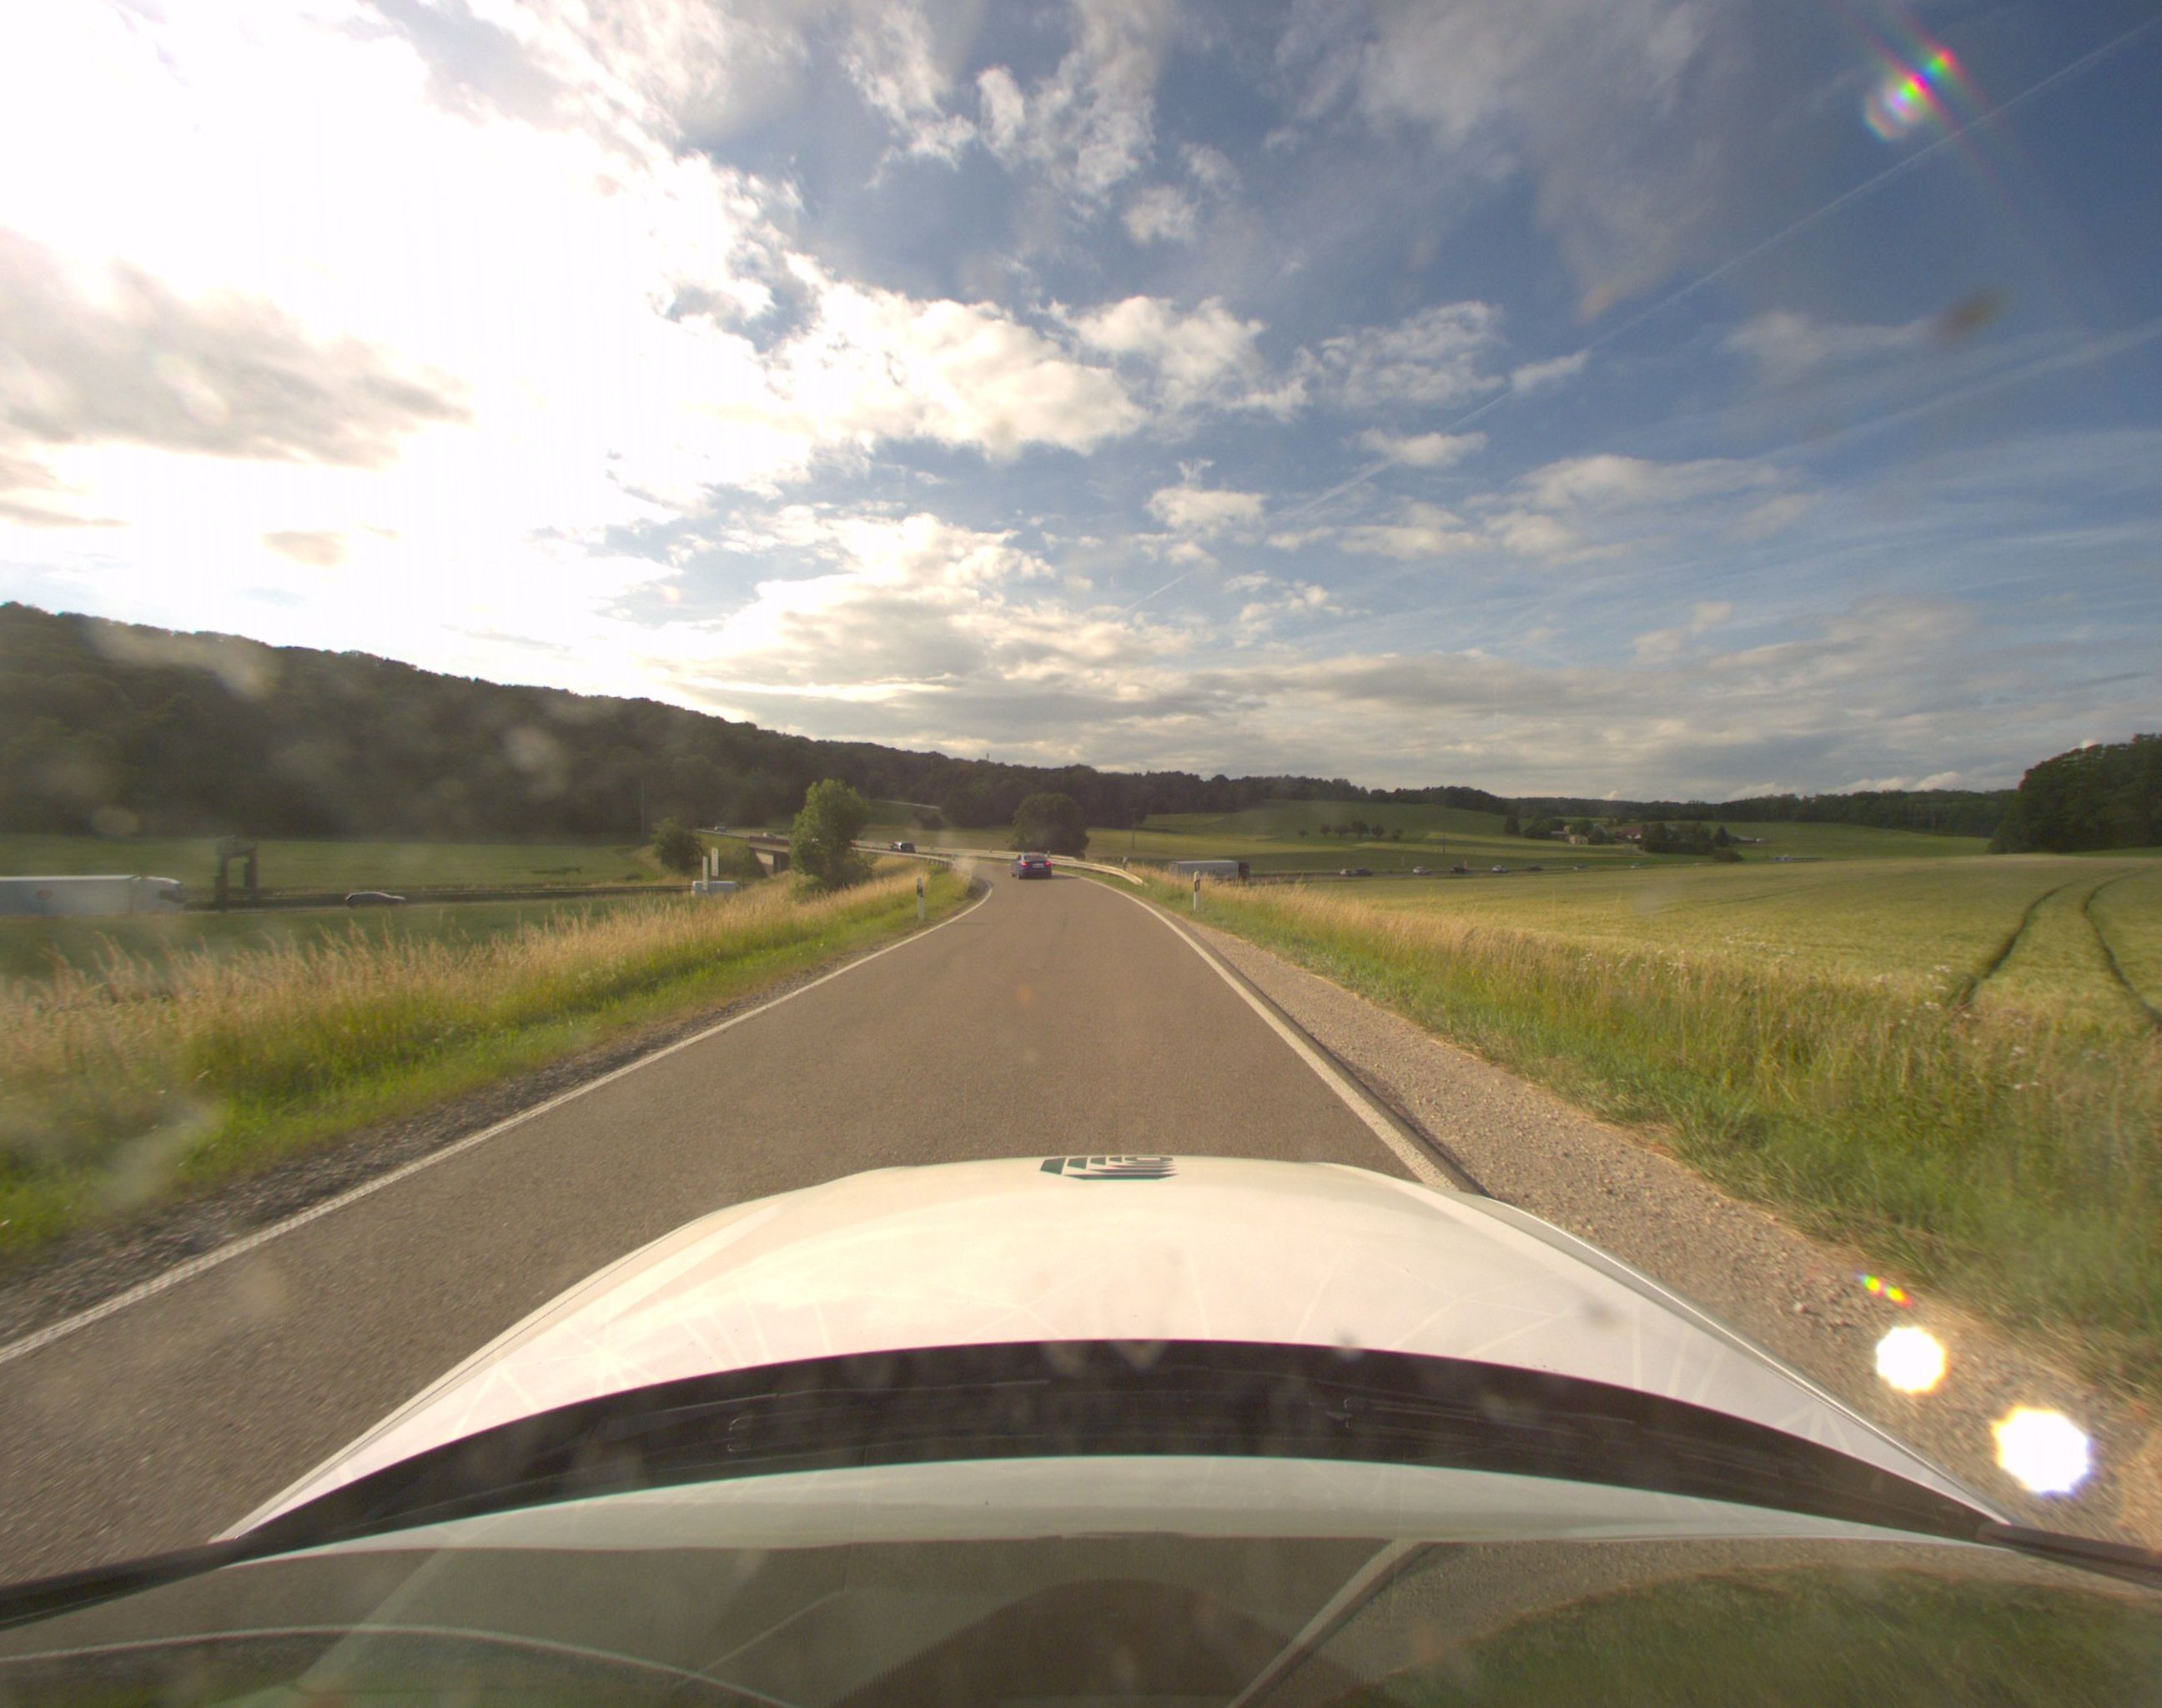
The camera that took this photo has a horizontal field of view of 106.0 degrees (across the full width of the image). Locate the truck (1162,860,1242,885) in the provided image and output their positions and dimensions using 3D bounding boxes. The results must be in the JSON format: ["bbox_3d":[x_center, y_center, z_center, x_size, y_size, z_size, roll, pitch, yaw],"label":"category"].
[{"bbox_3d":[20.857,3.170,139.674,14.475,3.997,4.038,-1,-1,-32],"label":"truck"}]

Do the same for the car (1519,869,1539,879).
[{"bbox_3d":[98.040,4.442,178.235,4.011,2.014,1.981,-1,-1,-30],"label":"car"}]

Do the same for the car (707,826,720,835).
[{"bbox_3d":[-72.486,-4.700,160.662,2.006,1.679,4.139,3,0,-30],"label":"car"}]

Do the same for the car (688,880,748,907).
[{"bbox_3d":[-42.688,4.556,95.727,6.147,2.583,2.350,-1,7,-34],"label":"car"}]

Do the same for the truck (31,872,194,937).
[{"bbox_3d":[-79.319,4.032,67.016,8.099,4.466,2.995,-1,5,-41],"label":"truck"}]

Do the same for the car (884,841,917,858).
[{"bbox_3d":[-18.214,-0.492,82.128,1.875,1.568,3.958,0,2,-34],"label":"car"}]

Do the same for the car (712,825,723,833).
[{"bbox_3d":[-84.778,-5.862,189.933,2.005,1.771,3.964,-4,3,-28],"label":"car"}]

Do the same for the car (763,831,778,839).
[{"bbox_3d":[-47.942,-2.952,125.748,1.482,1.227,3.264,0,1,-35],"label":"car"}]

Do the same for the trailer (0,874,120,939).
[{"bbox_3d":[-84.249,4.160,62.725,12.795,4.466,2.998,-1,5,-41],"label":"trailer"}]

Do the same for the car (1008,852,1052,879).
[{"bbox_3d":[-2.876,0.596,44.843,1.820,1.339,4.333,-1,1,-12],"label":"car"}]
